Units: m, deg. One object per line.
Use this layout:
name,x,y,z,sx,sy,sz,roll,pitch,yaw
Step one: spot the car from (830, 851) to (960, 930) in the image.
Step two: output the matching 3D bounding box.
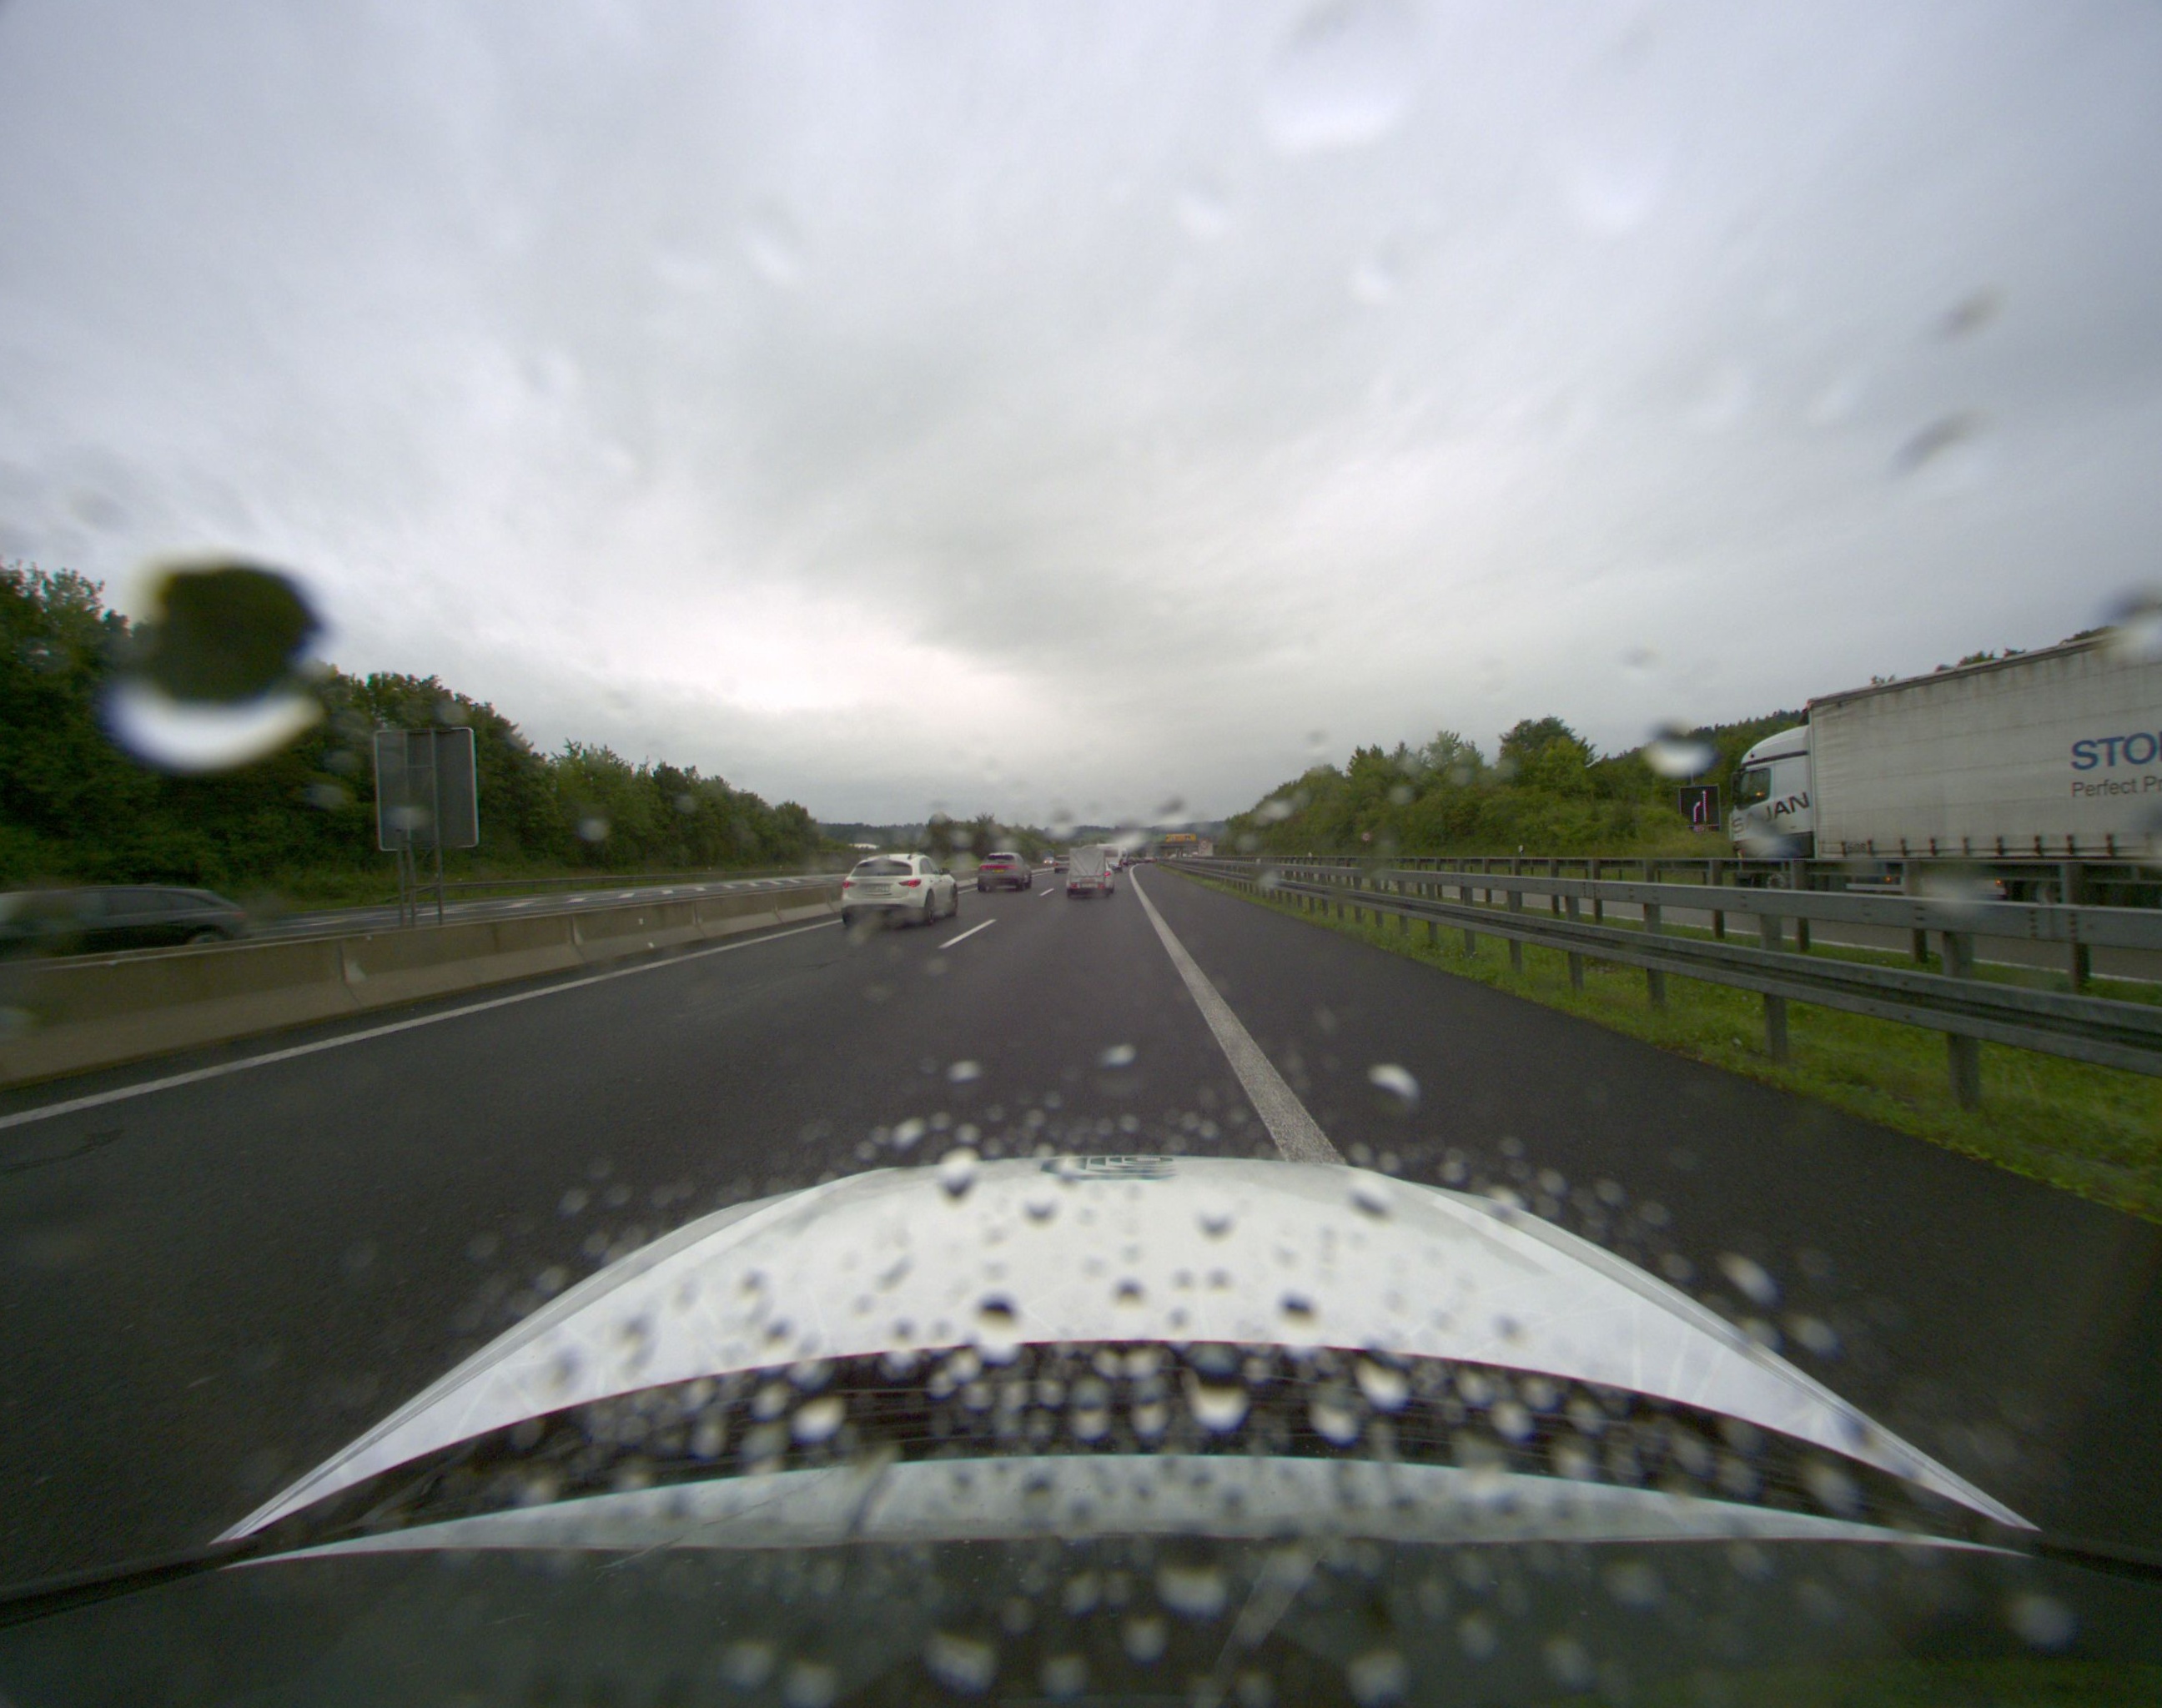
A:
car,-4.290,0.782,19.586,1.969,1.639,4.501,-1,0,1

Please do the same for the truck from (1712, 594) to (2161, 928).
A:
truck,15.671,-1.230,12.937,3.424,4.289,10.423,-1,0,2

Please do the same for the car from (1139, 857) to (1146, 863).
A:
car,17.473,1.724,232.169,1.983,1.750,4.007,-1,0,6

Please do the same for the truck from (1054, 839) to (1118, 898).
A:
truck,0.322,0.502,32.105,2.010,1.985,7.220,-1,0,4

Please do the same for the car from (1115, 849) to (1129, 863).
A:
car,5.906,0.286,117.847,1.986,2.036,4.152,0,0,1

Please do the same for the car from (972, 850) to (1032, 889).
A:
car,-3.536,0.692,37.360,2.166,1.631,4.501,-1,0,1

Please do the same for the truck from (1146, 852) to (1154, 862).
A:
truck,21.612,1.102,255.817,2.266,3.082,7.258,-1,0,6

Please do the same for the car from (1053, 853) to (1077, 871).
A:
car,-1.445,0.728,75.763,1.893,1.613,4.020,-1,0,3

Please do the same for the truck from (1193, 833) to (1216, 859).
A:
truck,25.777,-1.675,170.421,4.074,5.103,10.478,-1,0,5

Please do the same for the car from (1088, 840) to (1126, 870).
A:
car,2.470,0.080,74.527,3.002,2.616,6.084,-2,0,6

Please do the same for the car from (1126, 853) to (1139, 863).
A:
car,8.964,0.733,141.519,1.984,1.750,4.005,-1,0,5

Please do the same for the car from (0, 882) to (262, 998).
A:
car,-15.018,1.198,11.721,1.893,1.405,4.382,-1,0,3
